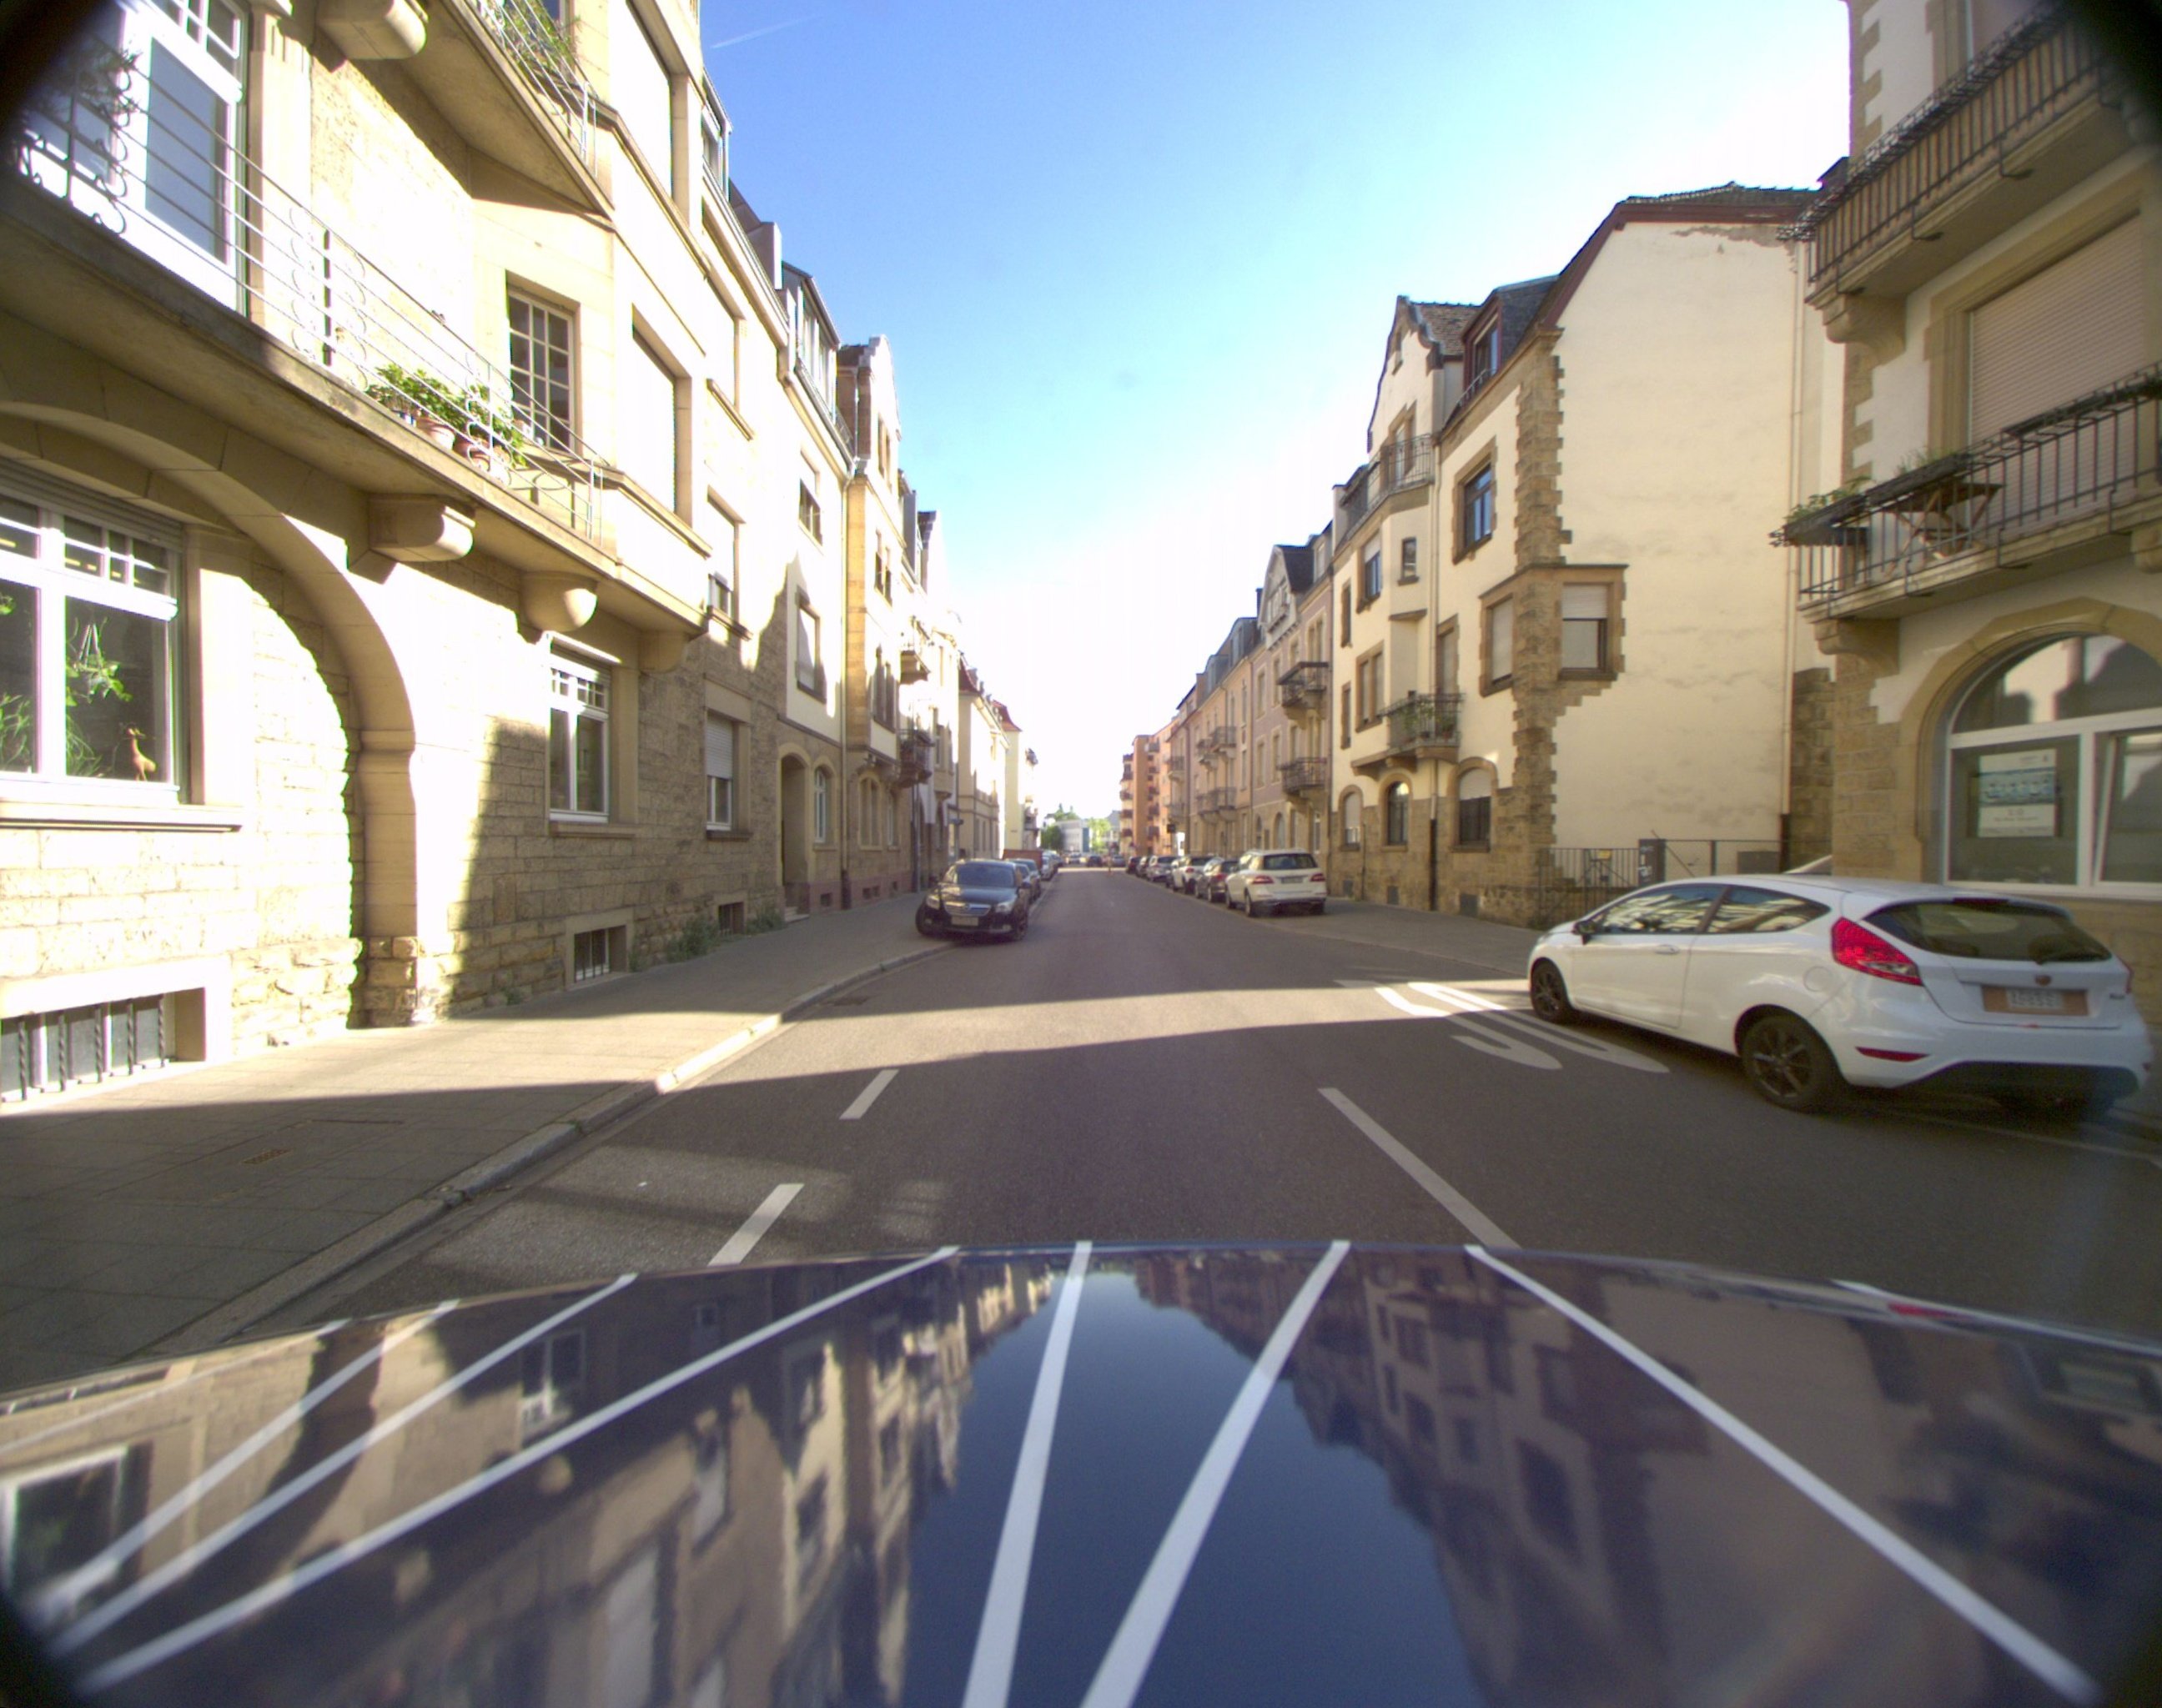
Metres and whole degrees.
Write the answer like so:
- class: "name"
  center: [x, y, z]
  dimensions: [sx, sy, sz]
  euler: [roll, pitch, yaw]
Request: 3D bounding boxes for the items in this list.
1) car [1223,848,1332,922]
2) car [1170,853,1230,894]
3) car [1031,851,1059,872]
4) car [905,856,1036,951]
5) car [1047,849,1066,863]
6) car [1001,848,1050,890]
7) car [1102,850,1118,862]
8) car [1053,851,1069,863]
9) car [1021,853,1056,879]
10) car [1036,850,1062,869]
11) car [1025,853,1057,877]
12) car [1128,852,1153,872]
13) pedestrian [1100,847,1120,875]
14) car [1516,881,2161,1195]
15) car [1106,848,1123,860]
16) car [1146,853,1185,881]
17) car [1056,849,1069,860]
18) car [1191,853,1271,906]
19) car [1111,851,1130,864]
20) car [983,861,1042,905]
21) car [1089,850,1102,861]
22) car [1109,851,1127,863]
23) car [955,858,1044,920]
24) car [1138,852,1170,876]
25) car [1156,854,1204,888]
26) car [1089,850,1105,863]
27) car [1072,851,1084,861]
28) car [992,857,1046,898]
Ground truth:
- class: "car"
  center: [5.198, 0.743, 20.677]
  dimensions: [1.890, 1.717, 4.211]
  euler: [-2, 1, 1]
- class: "car"
  center: [4.988, 0.784, 32.367]
  dimensions: [1.890, 1.500, 4.320]
  euler: [-2, 1, 1]
- class: "car"
  center: [-2.742, 0.524, 58.667]
  dimensions: [2.005, 1.500, 4.320]
  euler: [1, 1, -1]
- class: "car"
  center: [-2.034, 0.875, 15.239]
  dimensions: [2.024, 1.500, 4.111]
  euler: [2, 1, -1]
- class: "car"
  center: [-2.841, 0.250, 88.980]
  dimensions: [2.005, 1.500, 4.320]
  euler: [1, 1, -1]
- class: "car"
  center: [-2.556, 0.641, 35.811]
  dimensions: [2.005, 1.828, 4.320]
  euler: [1, 1, -1]
- class: "car"
  center: [4.115, 0.268, 107.252]
  dimensions: [2.005, 1.500, 4.320]
  euler: [1, 1, -1]
- class: "car"
  center: [-2.580, 0.413, 99.954]
  dimensions: [2.005, 1.500, 4.320]
  euler: [1, 1, -1]
- class: "car"
  center: [-2.649, 0.706, 47.869]
  dimensions: [2.005, 1.500, 4.320]
  euler: [1, 1, -1]
- class: "car"
  center: [-2.669, 0.439, 64.500]
  dimensions: [2.005, 1.500, 4.320]
  euler: [1, 1, -1]
- class: "car"
  center: [-2.745, 0.726, 52.642]
  dimensions: [2.005, 1.500, 4.320]
  euler: [1, 1, -1]
- class: "car"
  center: [4.896, 0.627, 62.974]
  dimensions: [1.793, 1.500, 4.320]
  euler: [-2, 1, 1]
- class: "pedestrian"
  center: [2.136, 0.494, 55.961]
  dimensions: [1.068, 2.002, 0.950]
  euler: [-3, 1, -32]
- class: "car"
  center: [5.115, 1.007, 5.700]
  dimensions: [1.656, 1.449, 3.643]
  euler: [2, 0, 2]
- class: "car"
  center: [4.521, -0.016, 101.959]
  dimensions: [2.005, 1.500, 4.320]
  euler: [1, 1, -1]
- class: "car"
  center: [5.024, 0.721, 45.833]
  dimensions: [1.890, 1.500, 4.320]
  euler: [-2, 1, 1]
- class: "car"
  center: [-2.938, 0.048, 123.337]
  dimensions: [2.005, 1.722, 4.320]
  euler: [1, 1, -1]
- class: "car"
  center: [5.126, 0.811, 26.546]
  dimensions: [1.890, 1.500, 4.320]
  euler: [-4, 1, 1]
- class: "car"
  center: [4.676, 0.390, 91.393]
  dimensions: [2.005, 1.500, 4.320]
  euler: [1, 1, -1]
- class: "car"
  center: [-2.230, 0.918, 25.379]
  dimensions: [1.661, 1.272, 3.729]
  euler: [1, 1, -1]
- class: "car"
  center: [1.915, 0.194, 102.460]
  dimensions: [1.702, 1.474, 3.534]
  euler: [1, 0, 0]
- class: "car"
  center: [4.626, 0.373, 96.207]
  dimensions: [2.005, 1.500, 4.320]
  euler: [1, 1, -1]
- class: "car"
  center: [-2.094, 0.866, 20.801]
  dimensions: [2.005, 1.499, 4.321]
  euler: [1, 0, -1]
- class: "car"
  center: [4.995, 0.655, 52.352]
  dimensions: [1.809, 1.500, 4.003]
  euler: [-2, 1, 1]
- class: "car"
  center: [4.859, 0.806, 37.808]
  dimensions: [1.857, 1.491, 4.318]
  euler: [-2, 1, 1]
- class: "car"
  center: [1.725, 0.259, 83.066]
  dimensions: [1.656, 1.449, 3.642]
  euler: [0, 1, -1]
- class: "car"
  center: [-0.496, 0.376, 122.124]
  dimensions: [2.005, 1.500, 4.320]
  euler: [1, 1, -1]
- class: "car"
  center: [-2.381, 0.882, 30.122]
  dimensions: [1.824, 1.415, 4.320]
  euler: [1, 1, -1]
